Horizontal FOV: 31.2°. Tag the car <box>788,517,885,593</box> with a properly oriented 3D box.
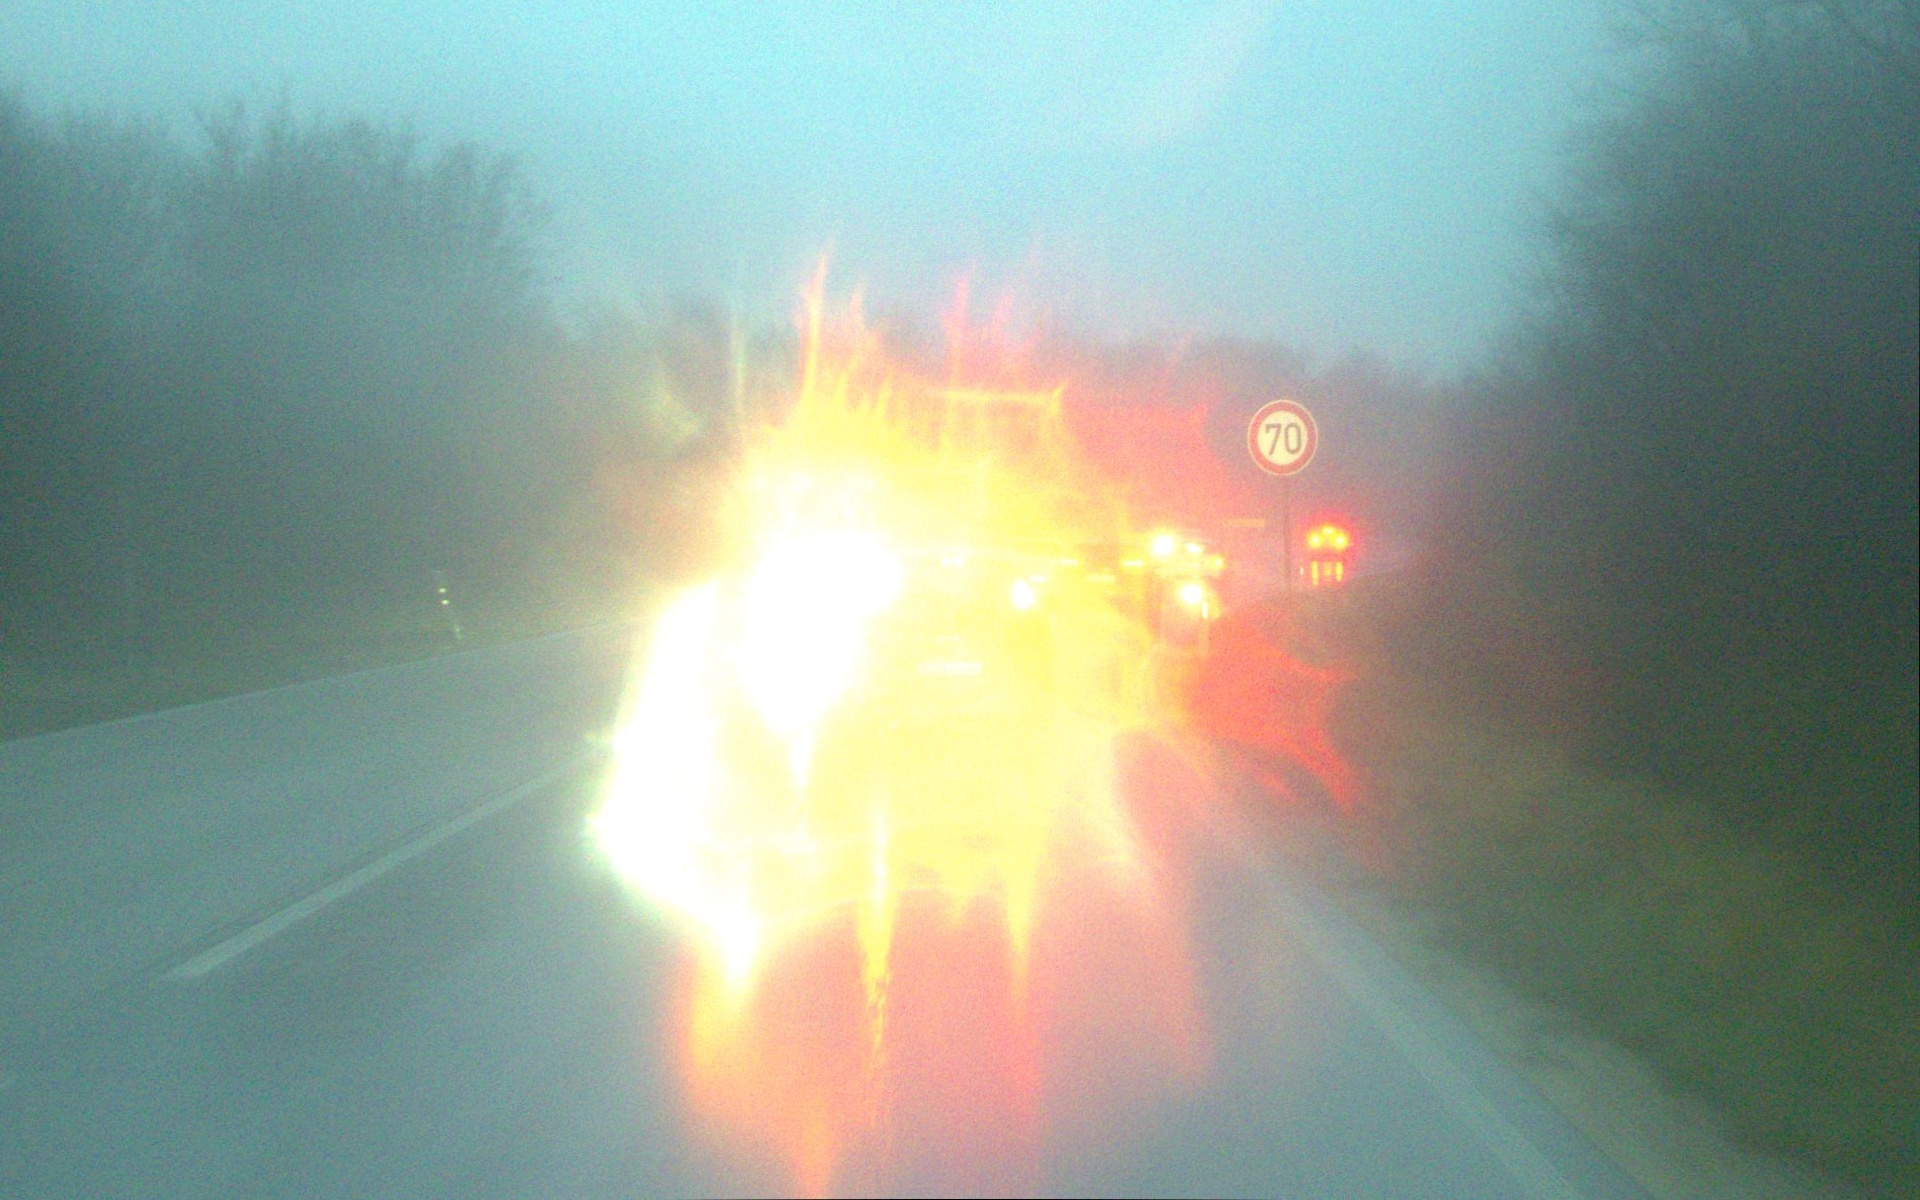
[{"bbox_3d":[-2.555,-0.971,72.017,1.764,1.492,4.103,2,2,1],"label":"car"}]

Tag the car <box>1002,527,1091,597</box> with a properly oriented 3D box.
[{"bbox_3d":[2.039,-0.923,82.198,2.005,1.550,4.517,3,1,1],"label":"car"}]

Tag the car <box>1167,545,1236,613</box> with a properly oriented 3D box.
[{"bbox_3d":[6.412,-0.580,91.596,1.679,1.669,4.098,1,2,2],"label":"car"}]

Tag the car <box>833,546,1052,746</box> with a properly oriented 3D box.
[{"bbox_3d":[-0.203,0.324,28.848,1.632,1.416,4.172,3,2,-2],"label":"car"}]

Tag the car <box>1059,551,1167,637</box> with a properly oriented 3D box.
[{"bbox_3d":[2.738,-0.133,62.112,1.678,1.385,4.099,1,2,-1],"label":"car"}]
